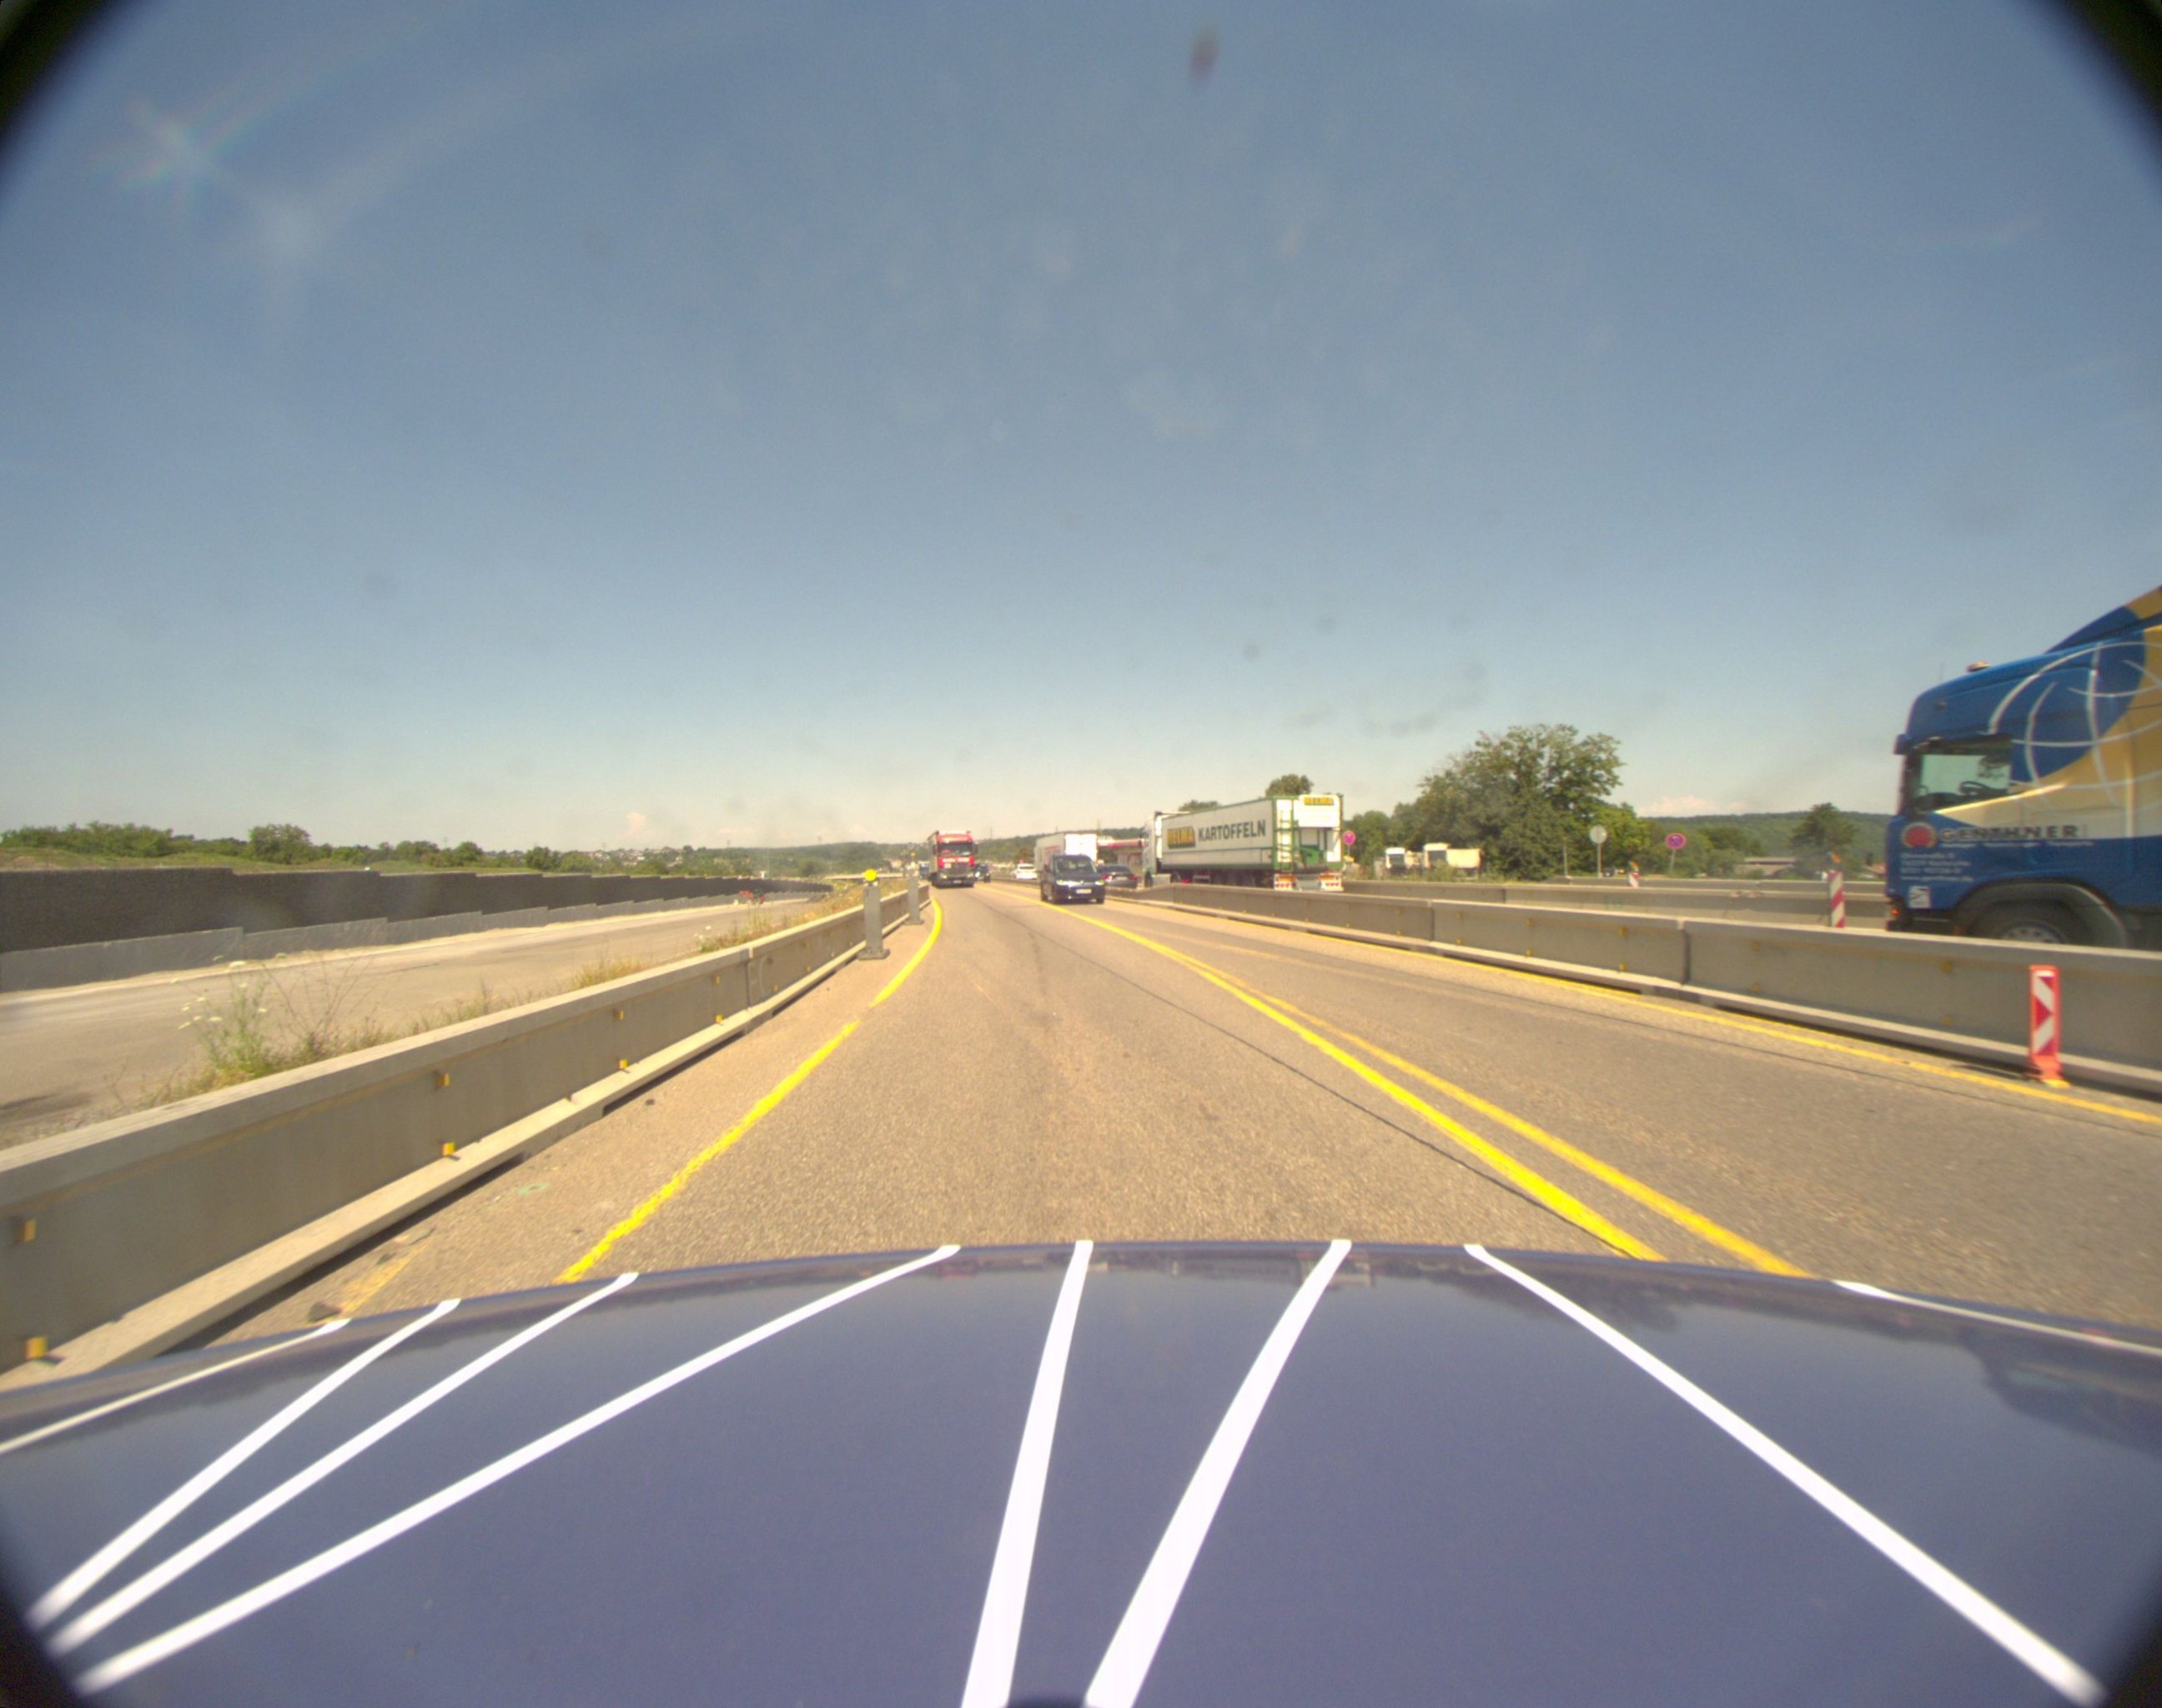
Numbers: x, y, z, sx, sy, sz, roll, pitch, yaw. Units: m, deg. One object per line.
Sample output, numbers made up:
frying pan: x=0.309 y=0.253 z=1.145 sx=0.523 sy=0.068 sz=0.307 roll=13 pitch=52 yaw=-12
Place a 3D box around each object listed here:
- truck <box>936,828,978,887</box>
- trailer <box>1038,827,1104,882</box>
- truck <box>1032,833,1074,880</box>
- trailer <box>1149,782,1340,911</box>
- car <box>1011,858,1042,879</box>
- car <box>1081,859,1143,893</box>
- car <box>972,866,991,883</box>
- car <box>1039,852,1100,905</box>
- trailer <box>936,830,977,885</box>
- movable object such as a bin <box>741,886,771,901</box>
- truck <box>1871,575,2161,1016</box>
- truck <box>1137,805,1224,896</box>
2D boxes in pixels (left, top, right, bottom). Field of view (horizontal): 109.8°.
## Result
truck: x=-8.736 y=0.266 z=53.354 sx=2.629 sy=3.880 sz=4.929 roll=-2 pitch=0 yaw=-11
trailer: x=-1.129 y=0.167 z=64.161 sx=2.825 sy=4.070 sz=13.110 roll=-2 pitch=-1 yaw=-13
truck: x=-2.667 y=0.244 z=71.361 sx=2.841 sy=4.107 sz=5.452 roll=-2 pitch=0 yaw=-13
trailer: x=5.886 y=-0.205 z=30.720 sx=2.362 sy=4.127 sz=12.485 roll=-2 pitch=0 yaw=-13
car: x=-4.793 y=1.243 z=65.740 sx=2.001 sy=1.728 sz=4.488 roll=0 pitch=0 yaw=-13
car: x=1.424 y=1.018 z=36.669 sx=1.760 sy=1.469 sz=4.531 roll=-2 pitch=0 yaw=-14
car: x=-9.200 y=1.841 z=70.167 sx=1.428 sy=1.477 sz=3.411 roll=-2 pitch=0 yaw=-12
car: x=-0.508 y=0.862 z=27.898 sx=1.926 sy=1.779 sz=4.602 roll=0 pitch=-1 yaw=-5
trailer: x=-9.937 y=0.285 z=59.804 sx=2.704 sy=3.852 sz=12.411 roll=-2 pitch=0 yaw=-10
movable object such as a bin: x=-52.925 y=6.362 z=123.884 sx=4.141 sy=2.135 sz=1.758 roll=-2 pitch=0 yaw=-39
truck: x=11.267 y=-0.572 z=6.655 sx=2.552 sy=4.057 sz=5.542 roll=-2 pitch=0 yaw=-7
truck: x=4.638 y=-0.131 z=36.399 sx=2.457 sy=3.984 sz=5.072 roll=-2 pitch=0 yaw=-13
